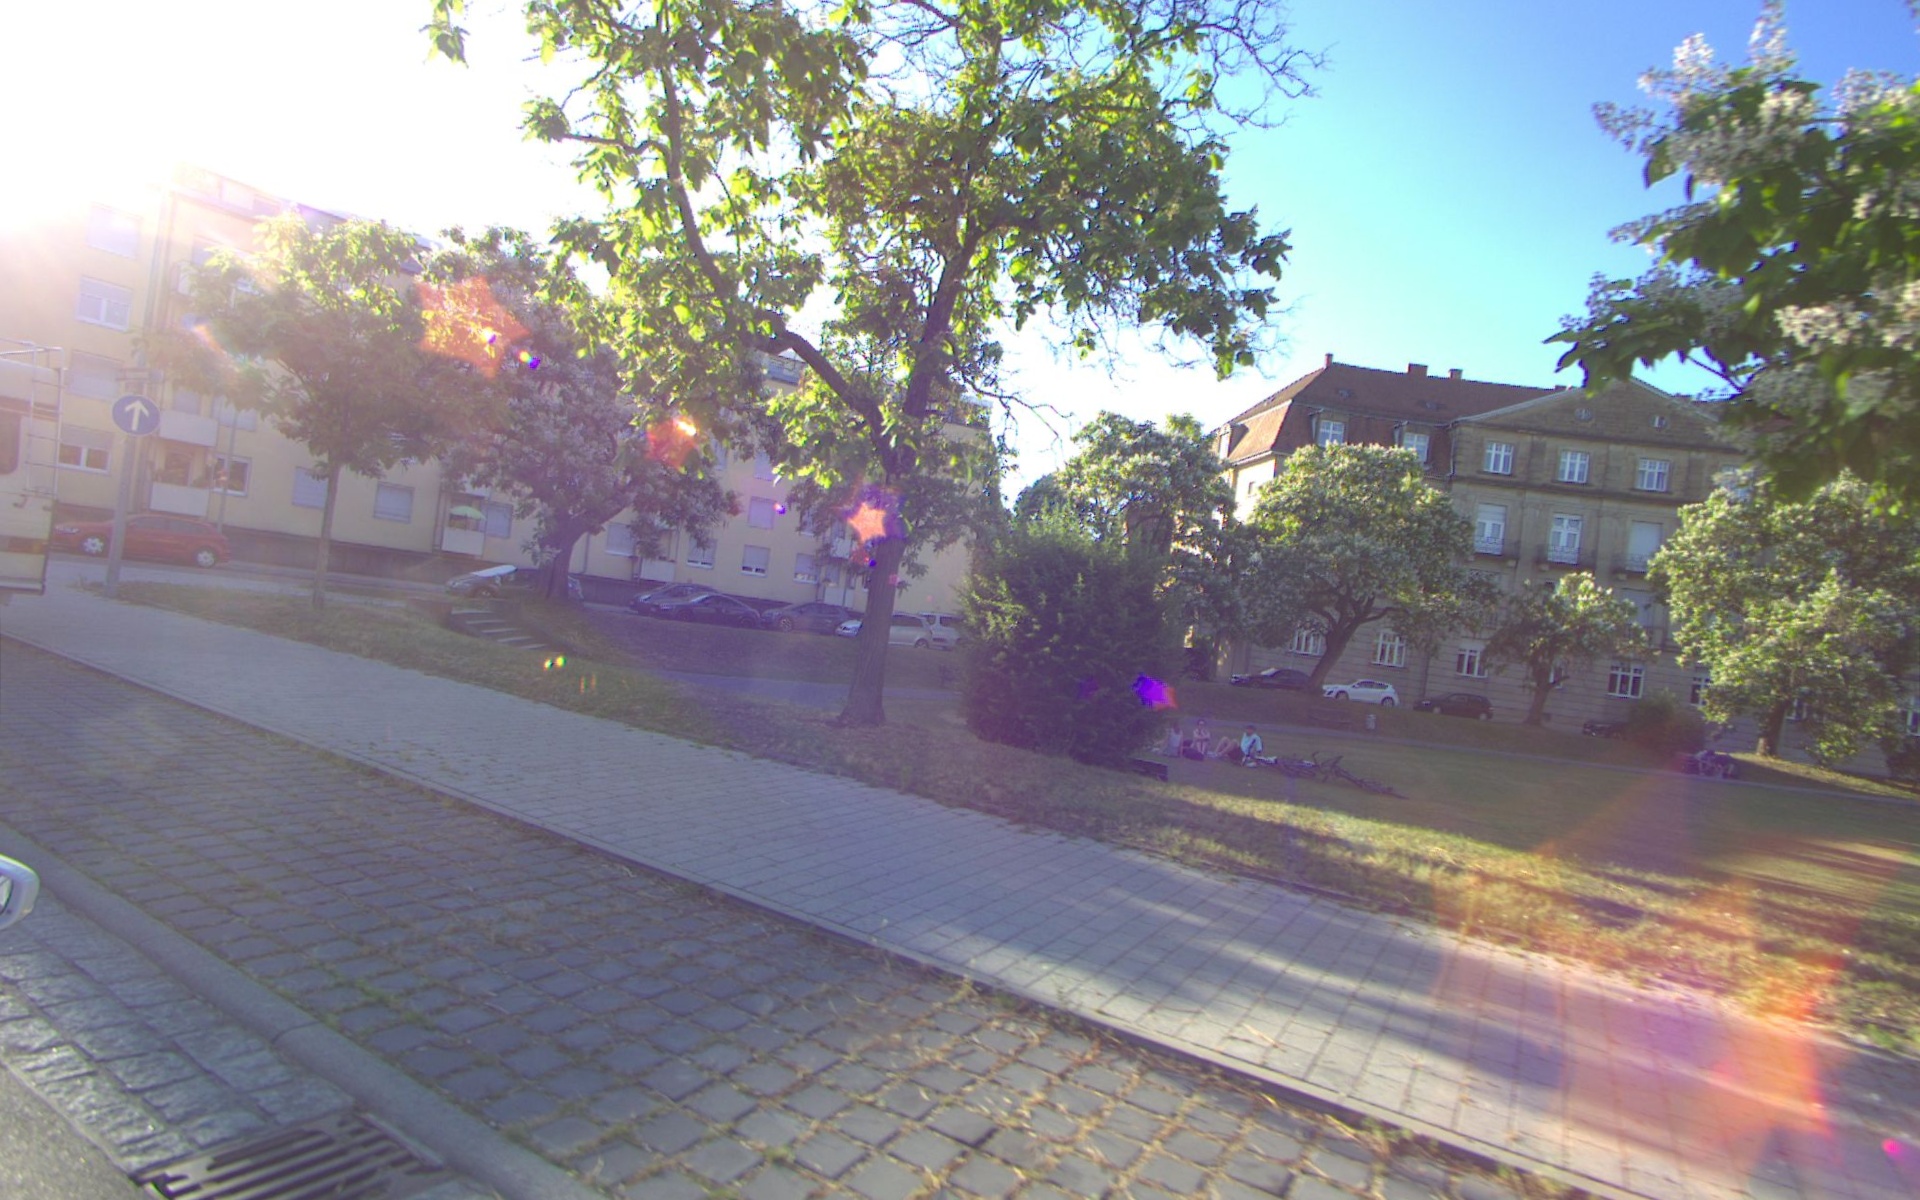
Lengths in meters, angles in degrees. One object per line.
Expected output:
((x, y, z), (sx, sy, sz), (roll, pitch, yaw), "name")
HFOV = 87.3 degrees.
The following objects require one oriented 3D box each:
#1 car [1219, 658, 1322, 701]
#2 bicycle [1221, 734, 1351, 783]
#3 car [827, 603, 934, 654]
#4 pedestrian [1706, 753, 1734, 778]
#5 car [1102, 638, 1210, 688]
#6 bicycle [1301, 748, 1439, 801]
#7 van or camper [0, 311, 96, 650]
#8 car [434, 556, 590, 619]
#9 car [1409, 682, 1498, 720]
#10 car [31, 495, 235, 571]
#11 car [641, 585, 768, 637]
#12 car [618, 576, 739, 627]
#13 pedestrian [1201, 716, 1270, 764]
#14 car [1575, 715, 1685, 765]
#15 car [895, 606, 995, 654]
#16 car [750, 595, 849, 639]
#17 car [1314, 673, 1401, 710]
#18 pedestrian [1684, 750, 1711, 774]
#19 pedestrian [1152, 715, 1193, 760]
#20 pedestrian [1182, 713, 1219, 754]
((15.145, 3.861, 49.136), (4.292, 1.470, 1.879), (7, -1, -7), "car")
((6.640, 3.222, 20.521), (1.756, 0.622, 1.795), (9, -2, -35), "bicycle")
((-3.258, 1.180, 41.497), (3.960, 1.570, 1.597), (8, -1, -32), "car")
((29.702, 6.460, 39.332), (0.655, 0.803, 0.587), (7, 0, 20), "pedestrian")
((9.191, 2.951, 47.221), (4.457, 1.767, 1.875), (8, -1, -16), "car")
((7.930, 3.374, 19.491), (1.756, 0.622, 1.795), (9, -2, -35), "bicycle")
((-11.103, -1.317, 9.779), (5.578, 2.939, 2.238), (6, -1, 31), "van or camper")
((-14.409, -0.372, 32.504), (4.184, 1.480, 1.672), (8, -1, -44), "car")
((27.484, 5.623, 56.171), (3.924, 1.470, 1.882), (7, -1, 5), "car")
((-24.417, -1.956, 29.843), (1.969, 1.549, 4.198), (7, -1, 35), "car")
((-9.430, 0.438, 37.298), (4.176, 1.373, 1.675), (8, -1, -39), "car")
((-11.994, 0.094, 43.039), (4.494, 1.588, 1.859), (8, -1, -41), "car")
((5.962, 3.027, 21.813), (1.240, 0.822, 0.572), (9, -1, -14), "pedestrian")
((33.289, 6.926, 50.092), (3.925, 1.725, 2.002), (8, -2, 3), "car")
((-0.729, 1.488, 49.827), (4.469, 1.767, 1.870), (8, -1, -24), "car")
((-7.331, 0.778, 46.112), (3.958, 1.470, 1.866), (8, -1, -31), "car")
((22.110, 5.077, 56.062), (3.926, 1.470, 1.881), (7, -1, 0), "car")
((29.007, 6.356, 39.573), (0.655, 0.803, 0.587), (7, 0, 20), "pedestrian")
((4.377, 2.823, 20.729), (0.602, 0.822, 0.473), (7, -1, 32), "pedestrian")
((5.391, 2.989, 22.538), (0.602, 0.822, 0.473), (7, -1, 32), "pedestrian")
